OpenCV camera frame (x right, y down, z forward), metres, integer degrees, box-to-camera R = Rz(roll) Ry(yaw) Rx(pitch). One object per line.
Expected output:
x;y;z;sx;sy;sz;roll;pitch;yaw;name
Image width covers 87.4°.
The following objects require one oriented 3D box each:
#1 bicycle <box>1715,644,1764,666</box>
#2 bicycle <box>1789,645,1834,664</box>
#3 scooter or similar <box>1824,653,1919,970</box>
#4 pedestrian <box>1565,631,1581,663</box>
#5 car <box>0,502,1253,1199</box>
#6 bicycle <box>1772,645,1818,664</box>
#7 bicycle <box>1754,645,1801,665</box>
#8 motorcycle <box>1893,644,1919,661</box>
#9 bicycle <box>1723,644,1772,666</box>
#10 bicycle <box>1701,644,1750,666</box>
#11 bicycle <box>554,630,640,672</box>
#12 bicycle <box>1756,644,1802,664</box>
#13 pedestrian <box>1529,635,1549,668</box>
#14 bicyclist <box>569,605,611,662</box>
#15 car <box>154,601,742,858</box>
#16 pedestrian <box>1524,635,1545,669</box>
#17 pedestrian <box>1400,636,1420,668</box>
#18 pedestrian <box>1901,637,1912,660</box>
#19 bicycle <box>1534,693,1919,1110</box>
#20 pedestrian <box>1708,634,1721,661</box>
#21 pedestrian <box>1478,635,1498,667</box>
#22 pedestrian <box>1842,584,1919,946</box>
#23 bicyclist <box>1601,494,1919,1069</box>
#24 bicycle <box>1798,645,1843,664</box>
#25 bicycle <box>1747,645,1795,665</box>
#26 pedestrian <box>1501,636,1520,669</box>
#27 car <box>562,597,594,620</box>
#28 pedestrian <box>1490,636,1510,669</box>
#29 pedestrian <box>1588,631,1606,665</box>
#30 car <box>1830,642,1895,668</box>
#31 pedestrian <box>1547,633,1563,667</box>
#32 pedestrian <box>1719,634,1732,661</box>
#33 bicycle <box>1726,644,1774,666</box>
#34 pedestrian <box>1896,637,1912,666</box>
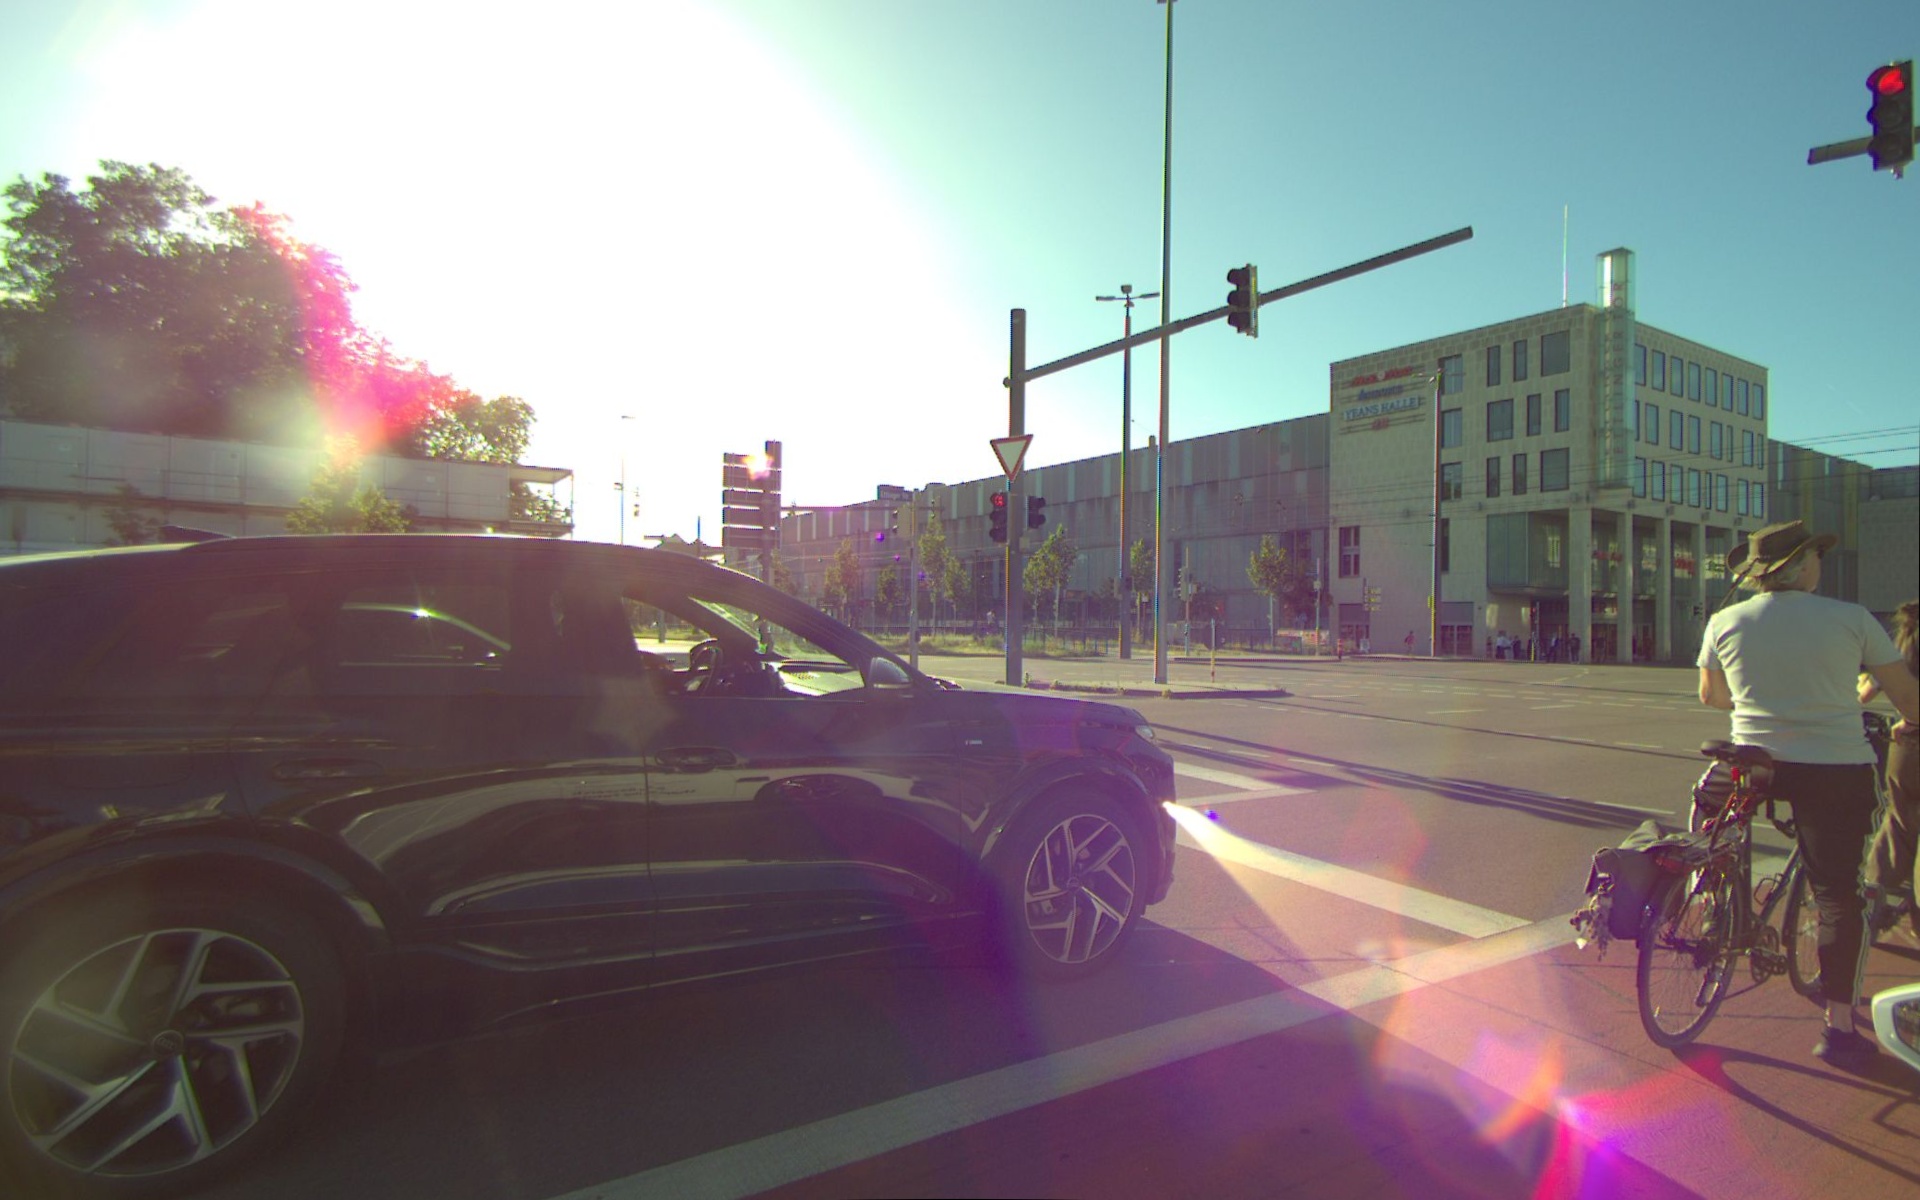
46.962;3.325;60.520;0.605;1.238;2.295;1;-1;-31;bicycle
58.850;3.730;69.420;0.605;1.238;2.295;1;-1;-31;bicycle
4.485;0.928;4.710;1.186;1.311;0.541;2;0;-45;scooter or similar
35.627;2.729;58.418;0.784;1.868;0.862;0;-1;32;pedestrian
-1.161;0.635;3.867;4.630;1.656;1.760;1;0;-32;car
55.517;3.616;66.822;0.605;1.238;2.295;1;-1;-31;bicycle
52.899;3.527;65.011;0.605;1.238;2.295;1;-1;-31;bicycle
70.738;3.901;74.846;0.508;1.223;1.786;1;0;-44;motorcycle
48.044;3.362;61.331;0.605;1.238;2.295;1;-1;-31;bicycle
45.760;3.287;60.076;0.605;1.238;2.295;1;-1;-31;bicycle
-13.470;1.884;37.269;2.905;1.388;0.970;2;0;14;bicycle
54.279;3.577;66.559;0.605;1.238;2.295;1;-1;-31;bicycle
34.404;3.043;59.683;0.710;1.910;0.779;2;0;-36;pedestrian
-13.749;1.240;37.324;1.078;2.040;0.961;2;0;14;bicyclist
-3.592;0.793;7.493;3.562;1.505;1.485;1;0;-30;car
33.394;3.006;58.370;0.710;1.910;0.779;2;0;-36;pedestrian
29.711;3.420;66.321;0.767;2.040;0.876;2;0;-41;pedestrian
71.096;3.665;75.446;0.579;1.702;0.516;1;1;-43;pedestrian
2.872;0.964;3.676;1.810;1.171;0.482;2;0;-31;bicycle
49.933;3.139;66.470;0.610;1.702;0.565;1;0;-39;pedestrian
32.342;3.109;61.537;0.710;1.910;0.779;2;0;-36;pedestrian
4.626;0.765;4.802;0.568;1.654;0.543;2;0;-45;pedestrian
2.862;0.559;3.549;0.856;1.743;0.657;2;0;-30;bicyclist
59.822;3.761;69.844;0.605;1.238;2.295;1;-1;-31;bicycle
51.275;3.471;63.543;0.605;1.238;2.295;1;-1;-31;bicycle
33.234;3.165;60.666;0.780;1.910;0.709;2;0;-37;pedestrian
-32.937;0.729;86.512;1.785;1.908;3.964;2;0;-33;car
32.160;3.128;59.862;0.710;1.910;0.779;2;0;-36;pedestrian
35.870;2.693;56.577;0.784;1.868;0.863;0;-1;29;pedestrian
49.780;3.060;55.402;3.956;1.359;1.621;2;-4;-32;car
34.343;2.895;57.936;0.705;1.910;0.785;2;0;33;pedestrian
50.386;3.122;66.099;0.602;1.702;0.549;1;1;-40;pedestrian
48.694;3.385;61.952;0.605;1.238;2.295;1;-1;-31;bicycle
55.954;3.050;59.540;0.639;1.742;0.449;0;-1;37;pedestrian
